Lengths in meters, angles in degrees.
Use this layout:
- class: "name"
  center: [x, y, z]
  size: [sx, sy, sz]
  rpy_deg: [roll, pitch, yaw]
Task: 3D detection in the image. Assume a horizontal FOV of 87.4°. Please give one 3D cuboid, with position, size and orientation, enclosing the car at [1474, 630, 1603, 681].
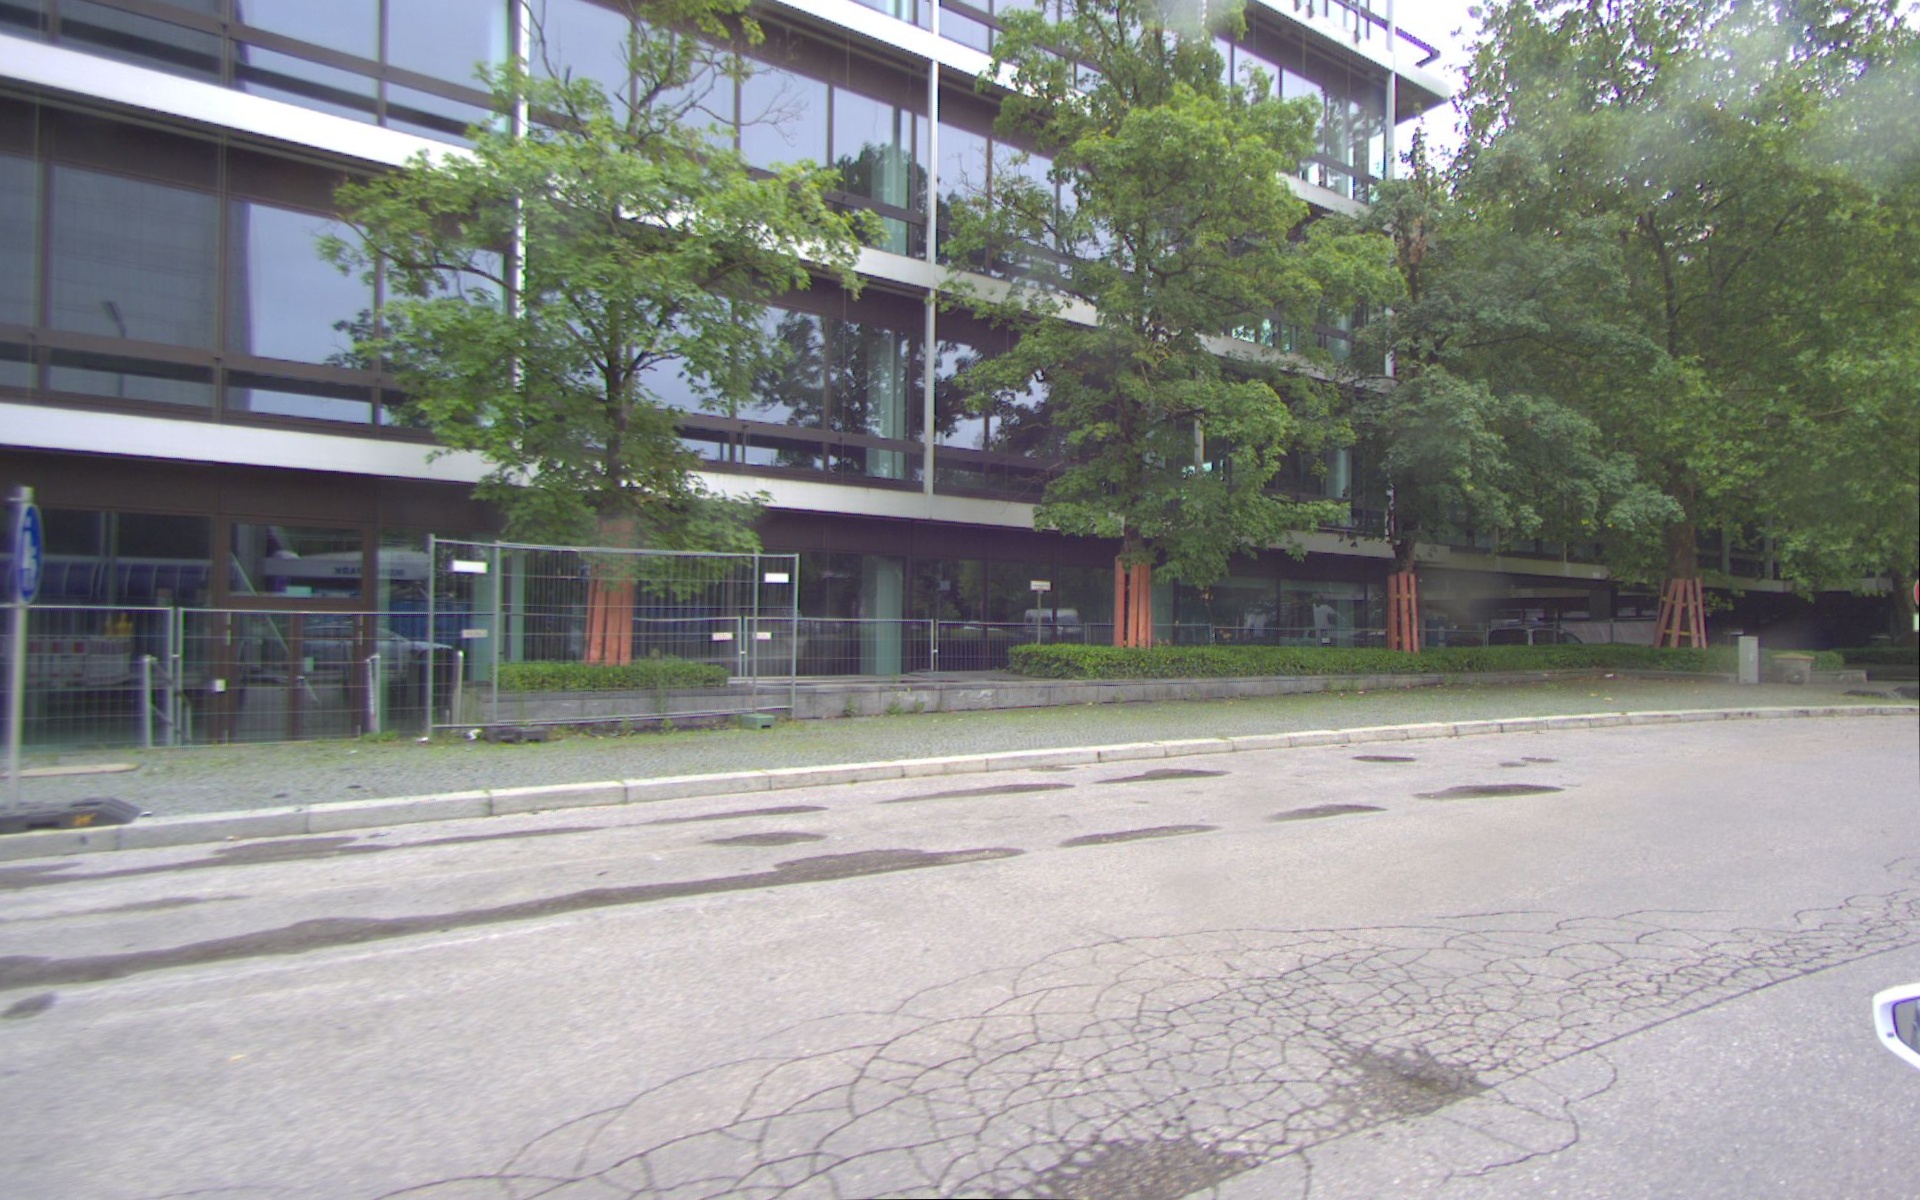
- class: "car"
  center: [18.055, 1.708, 31.348]
  size: [3.816, 1.493, 1.897]
  rpy_deg: [1, -2, -31]
